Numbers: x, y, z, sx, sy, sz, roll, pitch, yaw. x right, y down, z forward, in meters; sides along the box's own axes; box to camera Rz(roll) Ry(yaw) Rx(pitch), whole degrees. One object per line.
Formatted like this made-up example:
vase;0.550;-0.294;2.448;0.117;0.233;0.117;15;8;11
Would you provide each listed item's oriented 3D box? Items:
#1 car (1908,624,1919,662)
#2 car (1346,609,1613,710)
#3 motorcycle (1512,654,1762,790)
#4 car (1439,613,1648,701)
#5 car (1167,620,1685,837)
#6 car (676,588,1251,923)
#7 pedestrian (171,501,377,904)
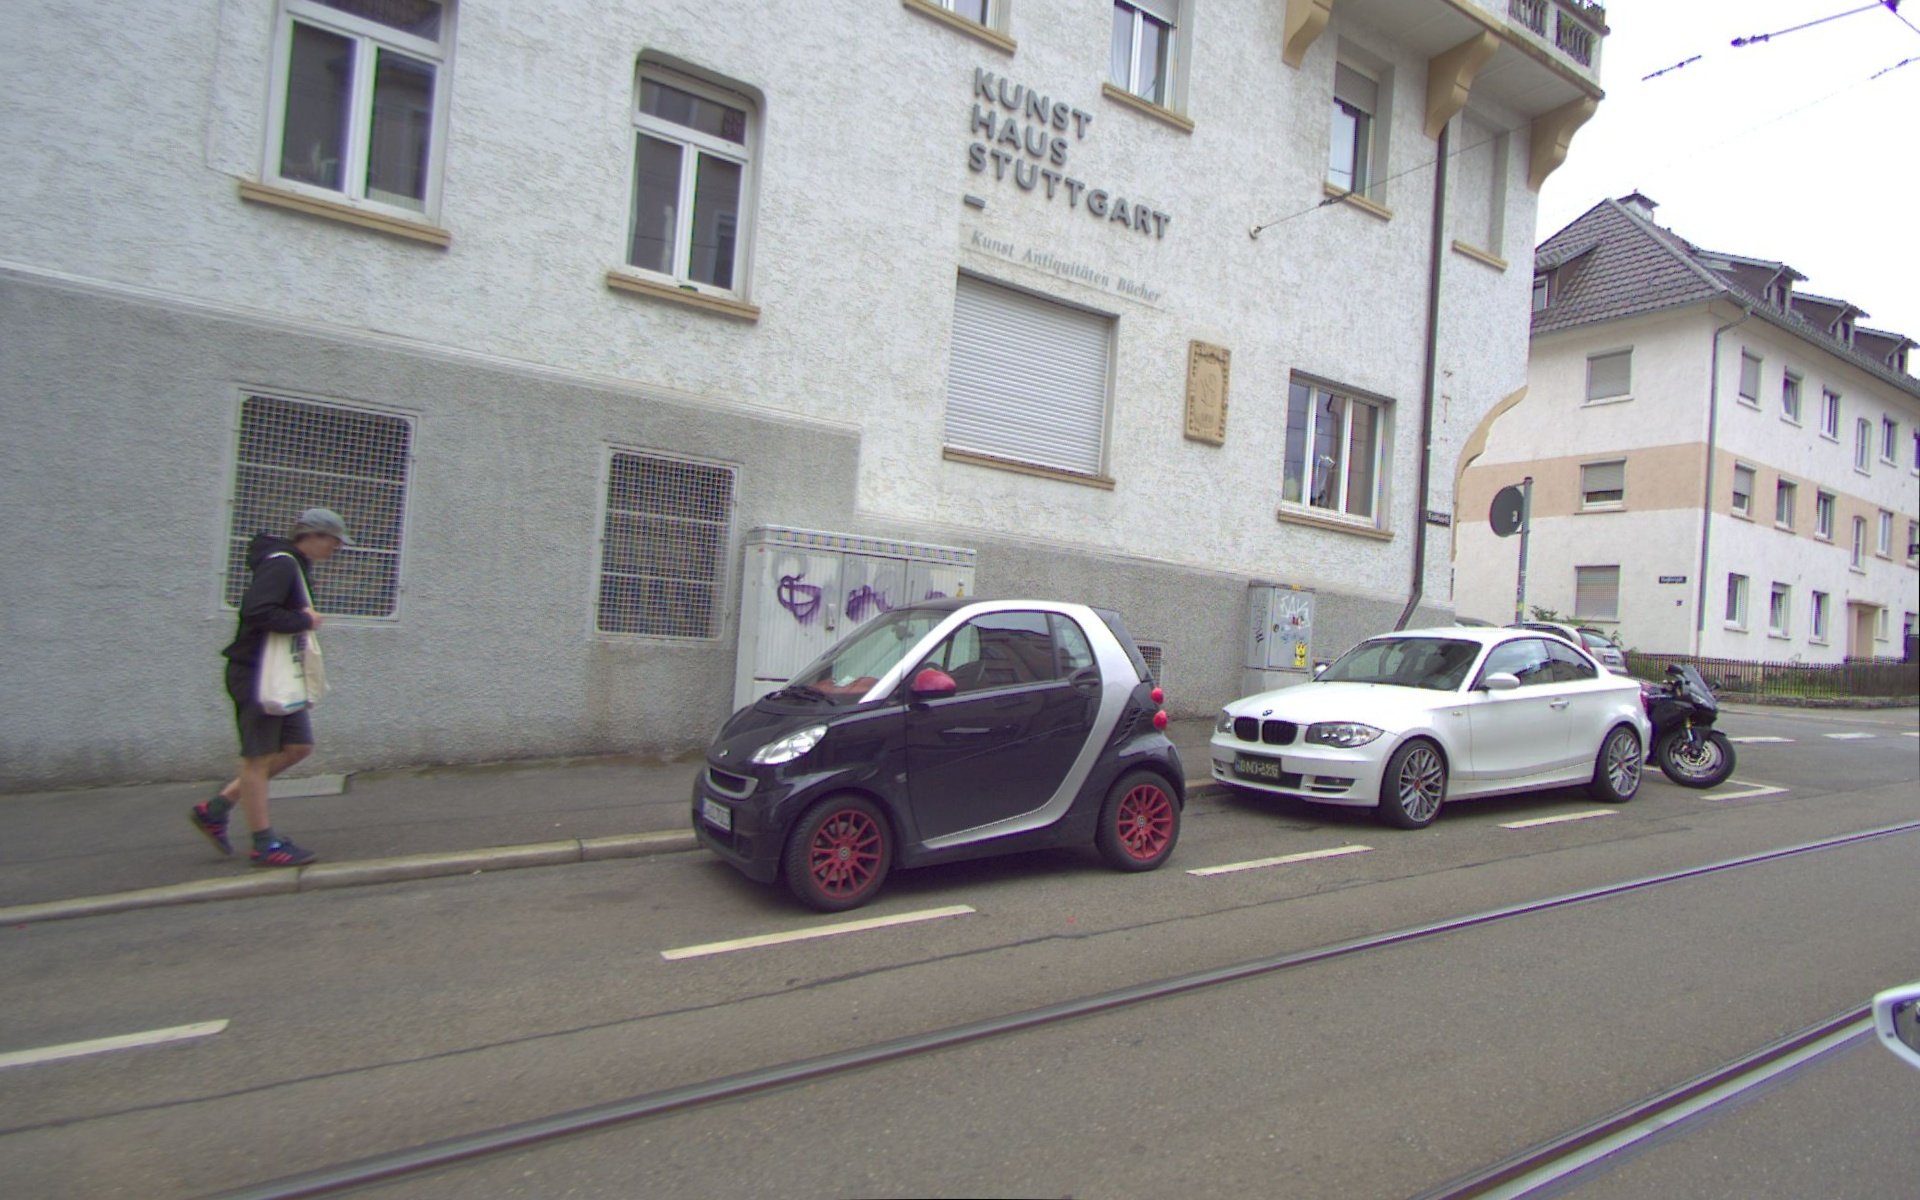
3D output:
car;40.820;1.810;41.230;3.842;1.514;1.675;2;0;-29
car;9.174;0.984;18.083;1.732;1.483;3.971;2;0;-28
motorcycle;6.712;1.153;10.127;0.753;1.149;2.109;1;-1;-16
car;12.727;1.199;22.096;1.757;1.511;3.498;8;-2;-29
car;3.957;0.918;8.387;4.239;1.375;1.772;2;0;-29
car;0.030;0.758;5.957;2.987;1.488;1.689;2;-3;-30
pedestrian;-3.534;0.491;5.234;0.802;1.932;0.586;2;5;-31
